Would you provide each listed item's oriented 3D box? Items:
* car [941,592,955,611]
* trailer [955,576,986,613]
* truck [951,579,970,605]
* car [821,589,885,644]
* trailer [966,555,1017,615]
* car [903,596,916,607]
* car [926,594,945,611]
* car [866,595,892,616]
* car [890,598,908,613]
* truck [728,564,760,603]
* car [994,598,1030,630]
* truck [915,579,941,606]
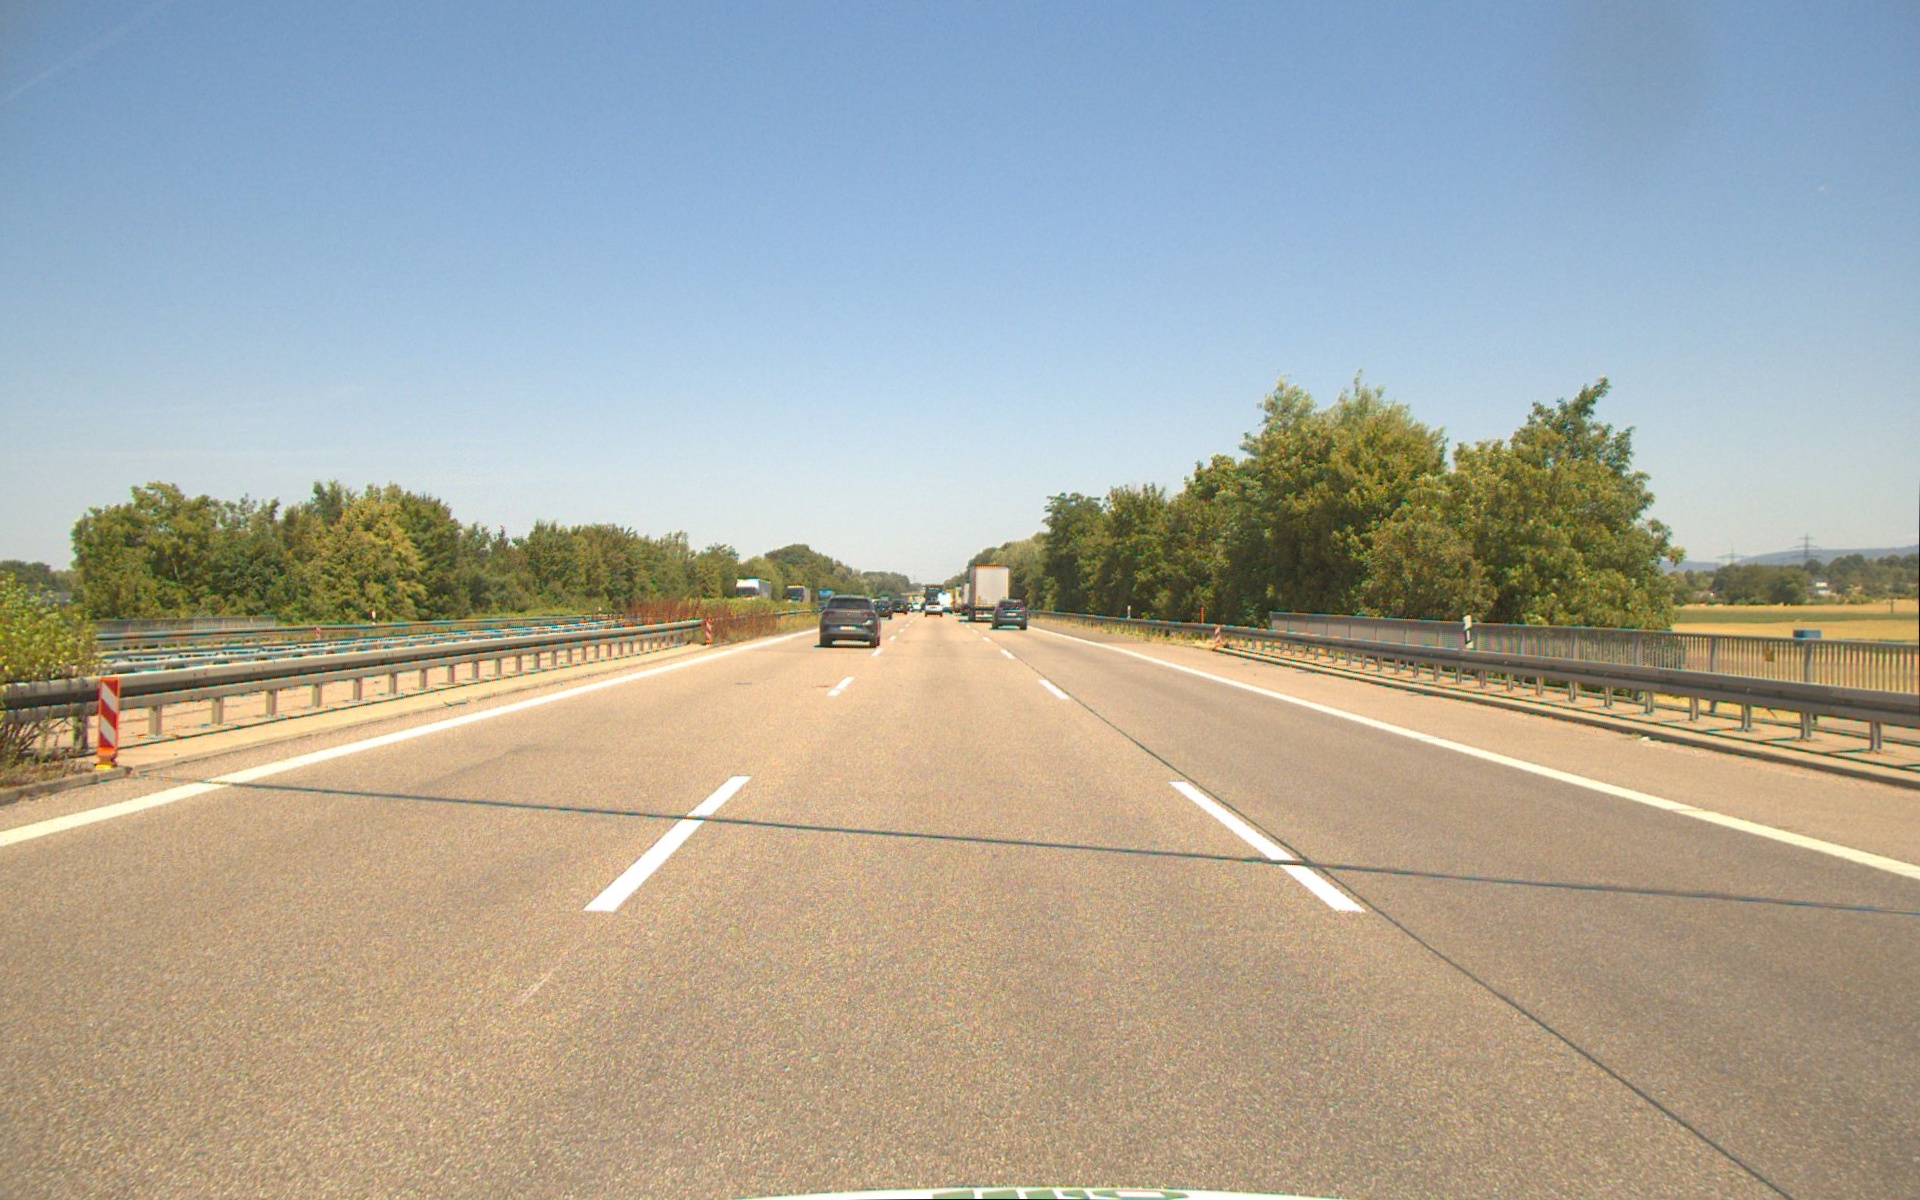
[{"bbox_3d":[-1.578,0.184,216.962,1.869,2.467,4.285,1,1,-1],"label":"car"},{"bbox_3d":[1.168,-0.634,185.218,3.059,3.995,9.933,1,1,-2],"label":"trailer"},{"bbox_3d":[0.066,-1.209,251.385,2.735,3.791,7.108,1,0,0],"label":"truck"},{"bbox_3d":[-3.284,0.469,51.262,1.723,1.557,4.285,1,1,-1],"label":"car"},{"bbox_3d":[2.278,-1.051,125.163,3.365,4.254,13.630,1,0,-1],"label":"trailer"},{"bbox_3d":[-7.762,0.236,253.272,1.869,1.557,4.285,1,1,-1],"label":"car"},{"bbox_3d":[-2.387,0.261,161.819,1.862,1.557,4.083,1,1,-1],"label":"car"},{"bbox_3d":[-6.313,0.442,129.417,1.862,1.557,4.083,1,1,-1],"label":"car"},{"bbox_3d":[-6.738,0.625,184.377,1.869,1.557,4.285,1,1,-1],"label":"car"},{"bbox_3d":[-24.600,-1.818,188.717,2.857,4.201,6.192,-2,0,-1],"label":"truck"},{"bbox_3d":[2.843,0.750,90.958,1.807,1.657,4.134,0,0,-1],"label":"car"},{"bbox_3d":[-4.606,-1.042,240.292,3.592,3.791,7.108,1,0,0],"label":"truck"}]
